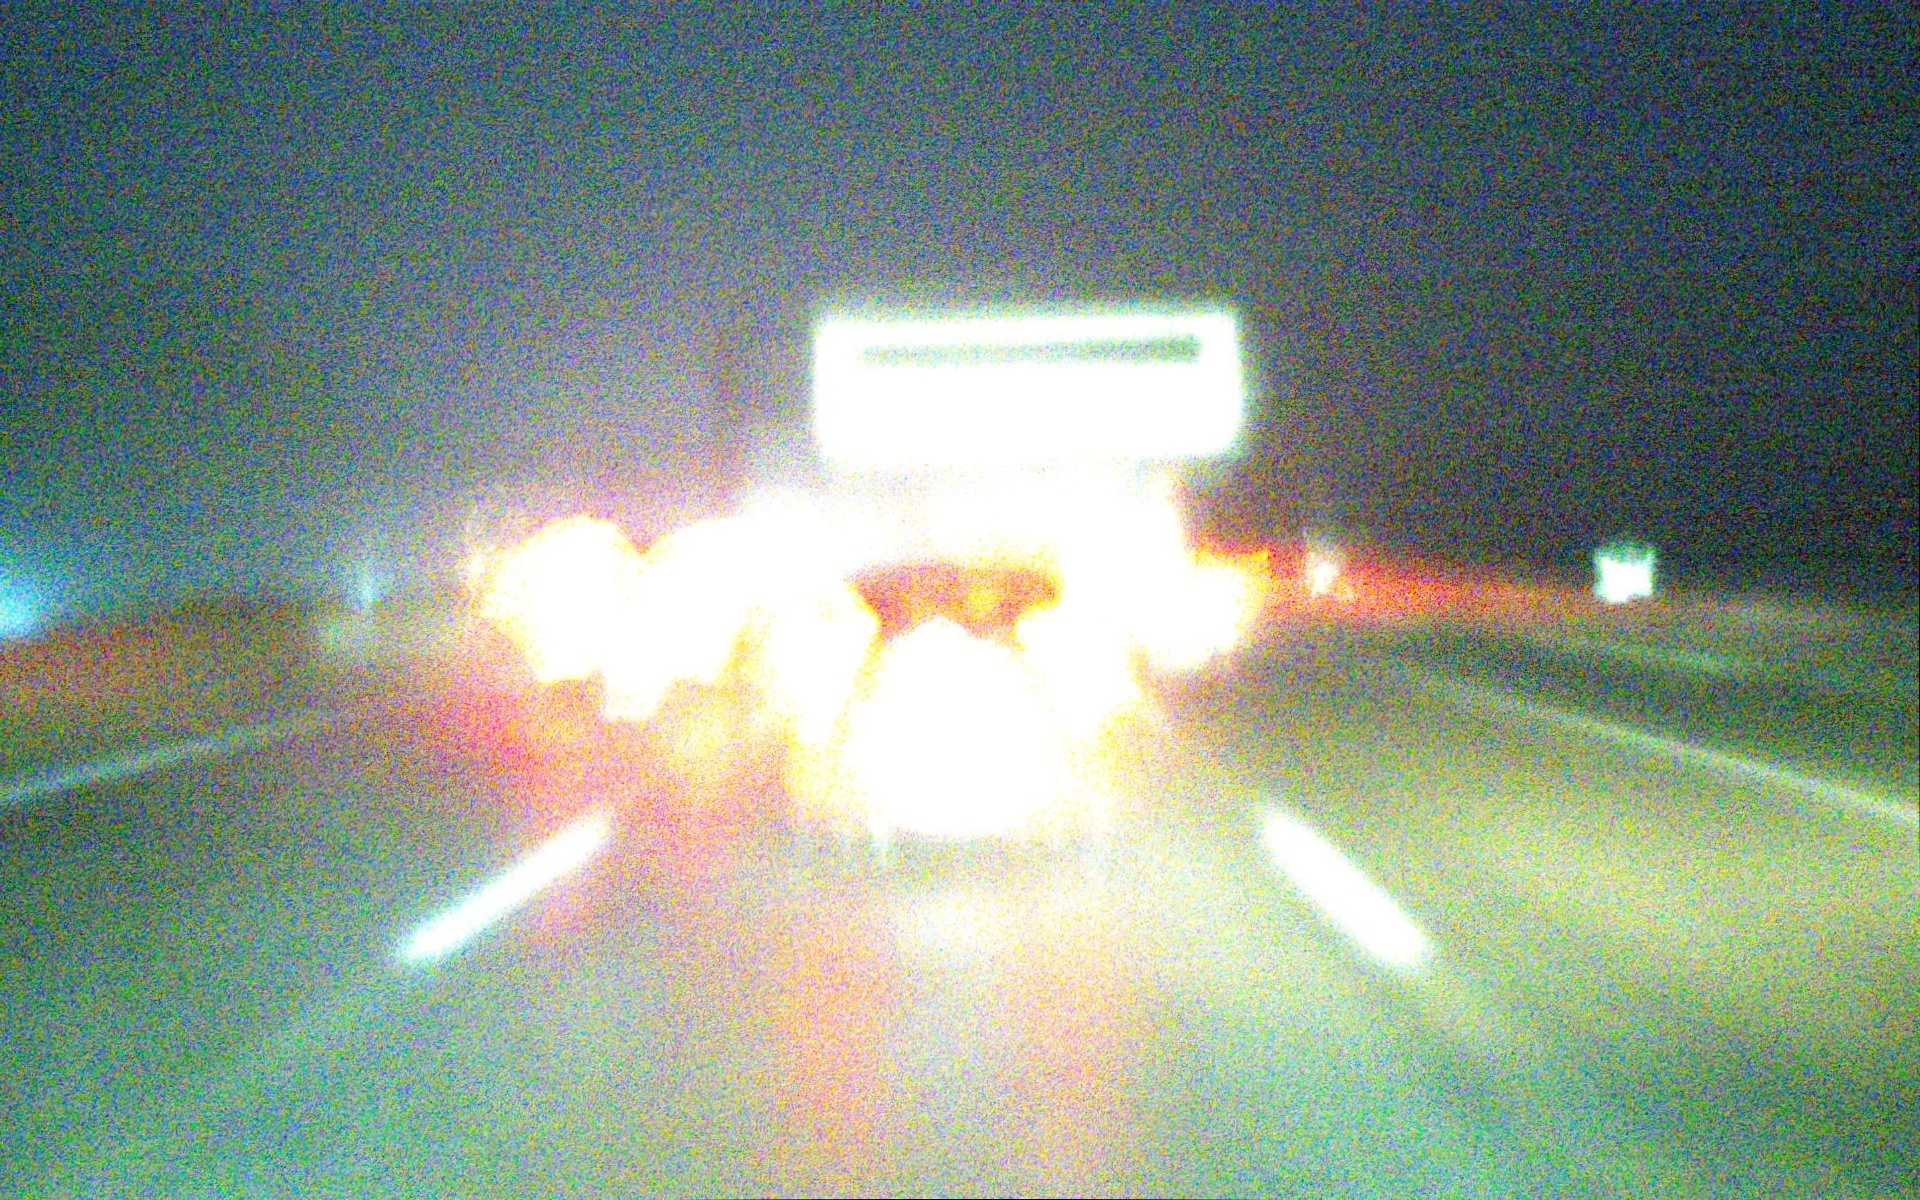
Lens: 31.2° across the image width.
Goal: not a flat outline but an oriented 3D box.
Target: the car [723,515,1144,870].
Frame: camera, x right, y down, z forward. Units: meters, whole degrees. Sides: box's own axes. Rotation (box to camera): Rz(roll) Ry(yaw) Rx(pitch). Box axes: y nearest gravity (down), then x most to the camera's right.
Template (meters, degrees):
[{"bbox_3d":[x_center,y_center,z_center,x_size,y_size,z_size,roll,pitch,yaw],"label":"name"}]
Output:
[{"bbox_3d":[-0.127,0.416,18.223,1.916,1.589,4.233,-2,0,0],"label":"car"}]

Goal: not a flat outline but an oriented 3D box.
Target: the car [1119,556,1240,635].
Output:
[{"bbox_3d":[4.013,-0.105,63.404,1.889,1.349,4.000,1,1,-1],"label":"car"}]

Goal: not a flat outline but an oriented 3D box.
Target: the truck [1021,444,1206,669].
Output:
[{"bbox_3d":[3.982,-1.151,93.394,4.167,5.525,13.075,-2,0,0],"label":"truck"}]

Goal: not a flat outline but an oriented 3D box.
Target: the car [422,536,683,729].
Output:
[{"bbox_3d":[-4.085,0.291,35.277,1.993,1.771,4.887,-2,0,1],"label":"car"}]

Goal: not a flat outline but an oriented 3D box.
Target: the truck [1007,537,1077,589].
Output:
[{"bbox_3d":[4.998,-2.291,211.576,3.835,3.045,11.006,1,1,-1],"label":"truck"}]
